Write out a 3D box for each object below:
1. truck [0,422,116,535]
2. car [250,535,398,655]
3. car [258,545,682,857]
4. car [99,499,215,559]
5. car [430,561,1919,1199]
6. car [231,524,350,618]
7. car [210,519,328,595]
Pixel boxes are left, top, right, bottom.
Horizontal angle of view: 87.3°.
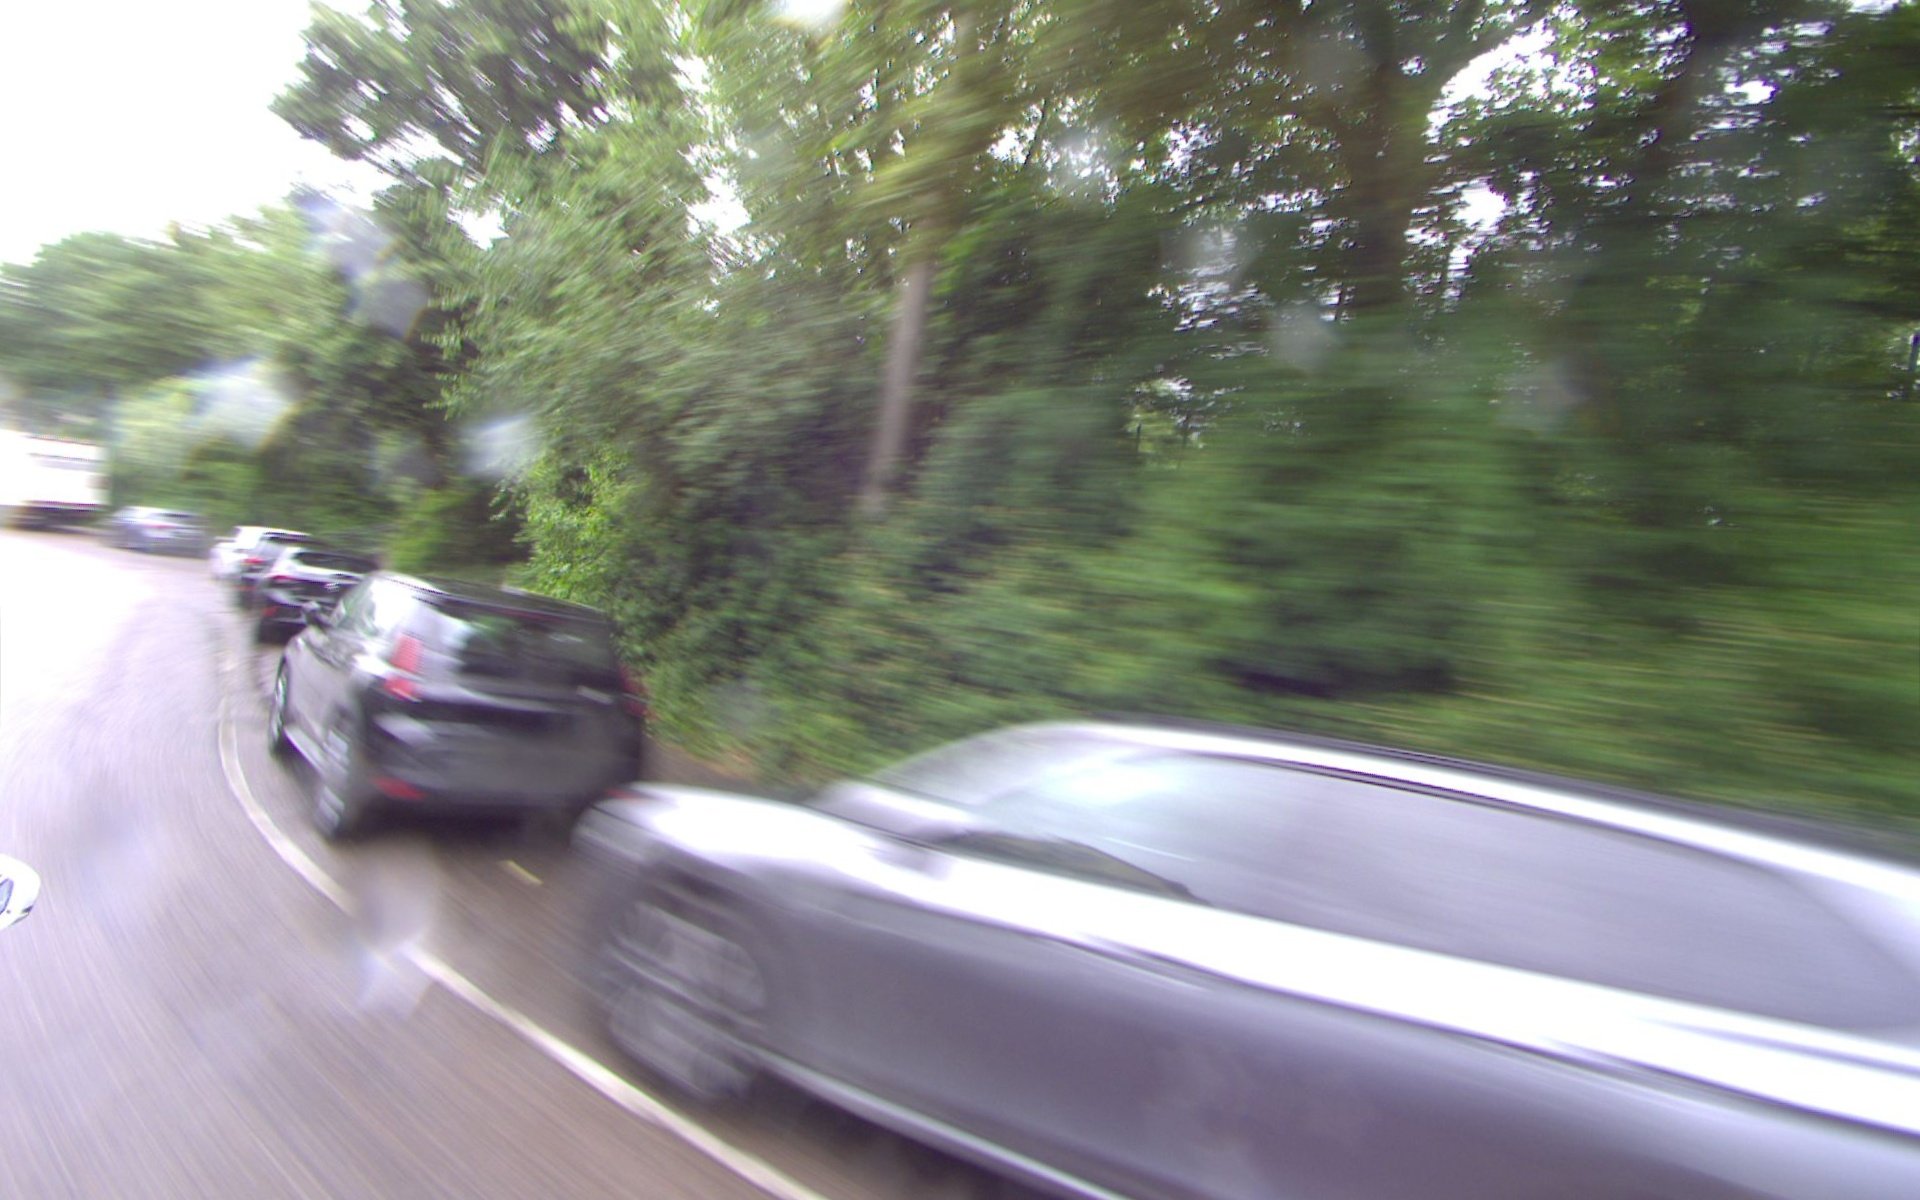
[{"bbox_3d":[-36.031,-4.737,37.756,8.183,3.621,3.013,7,2,21],"label":"truck"},{"bbox_3d":[-9.959,-0.150,15.672,1.582,1.404,3.786,11,-2,-35],"label":"car"},{"bbox_3d":[-3.601,0.563,7.026,1.622,1.504,3.703,12,-4,-40],"label":"car"},{"bbox_3d":[-25.952,-2.299,32.479,4.058,1.463,1.721,7,2,34],"label":"car"},{"bbox_3d":[0.663,0.992,3.379,4.791,1.504,1.907,8,-3,30],"label":"car"},{"bbox_3d":[-13.525,-0.638,20.228,1.652,1.441,3.928,9,-1,-37],"label":"car"},{"bbox_3d":[-16.913,-1.080,24.548,1.750,1.417,4.046,8,-1,-42],"label":"car"}]
